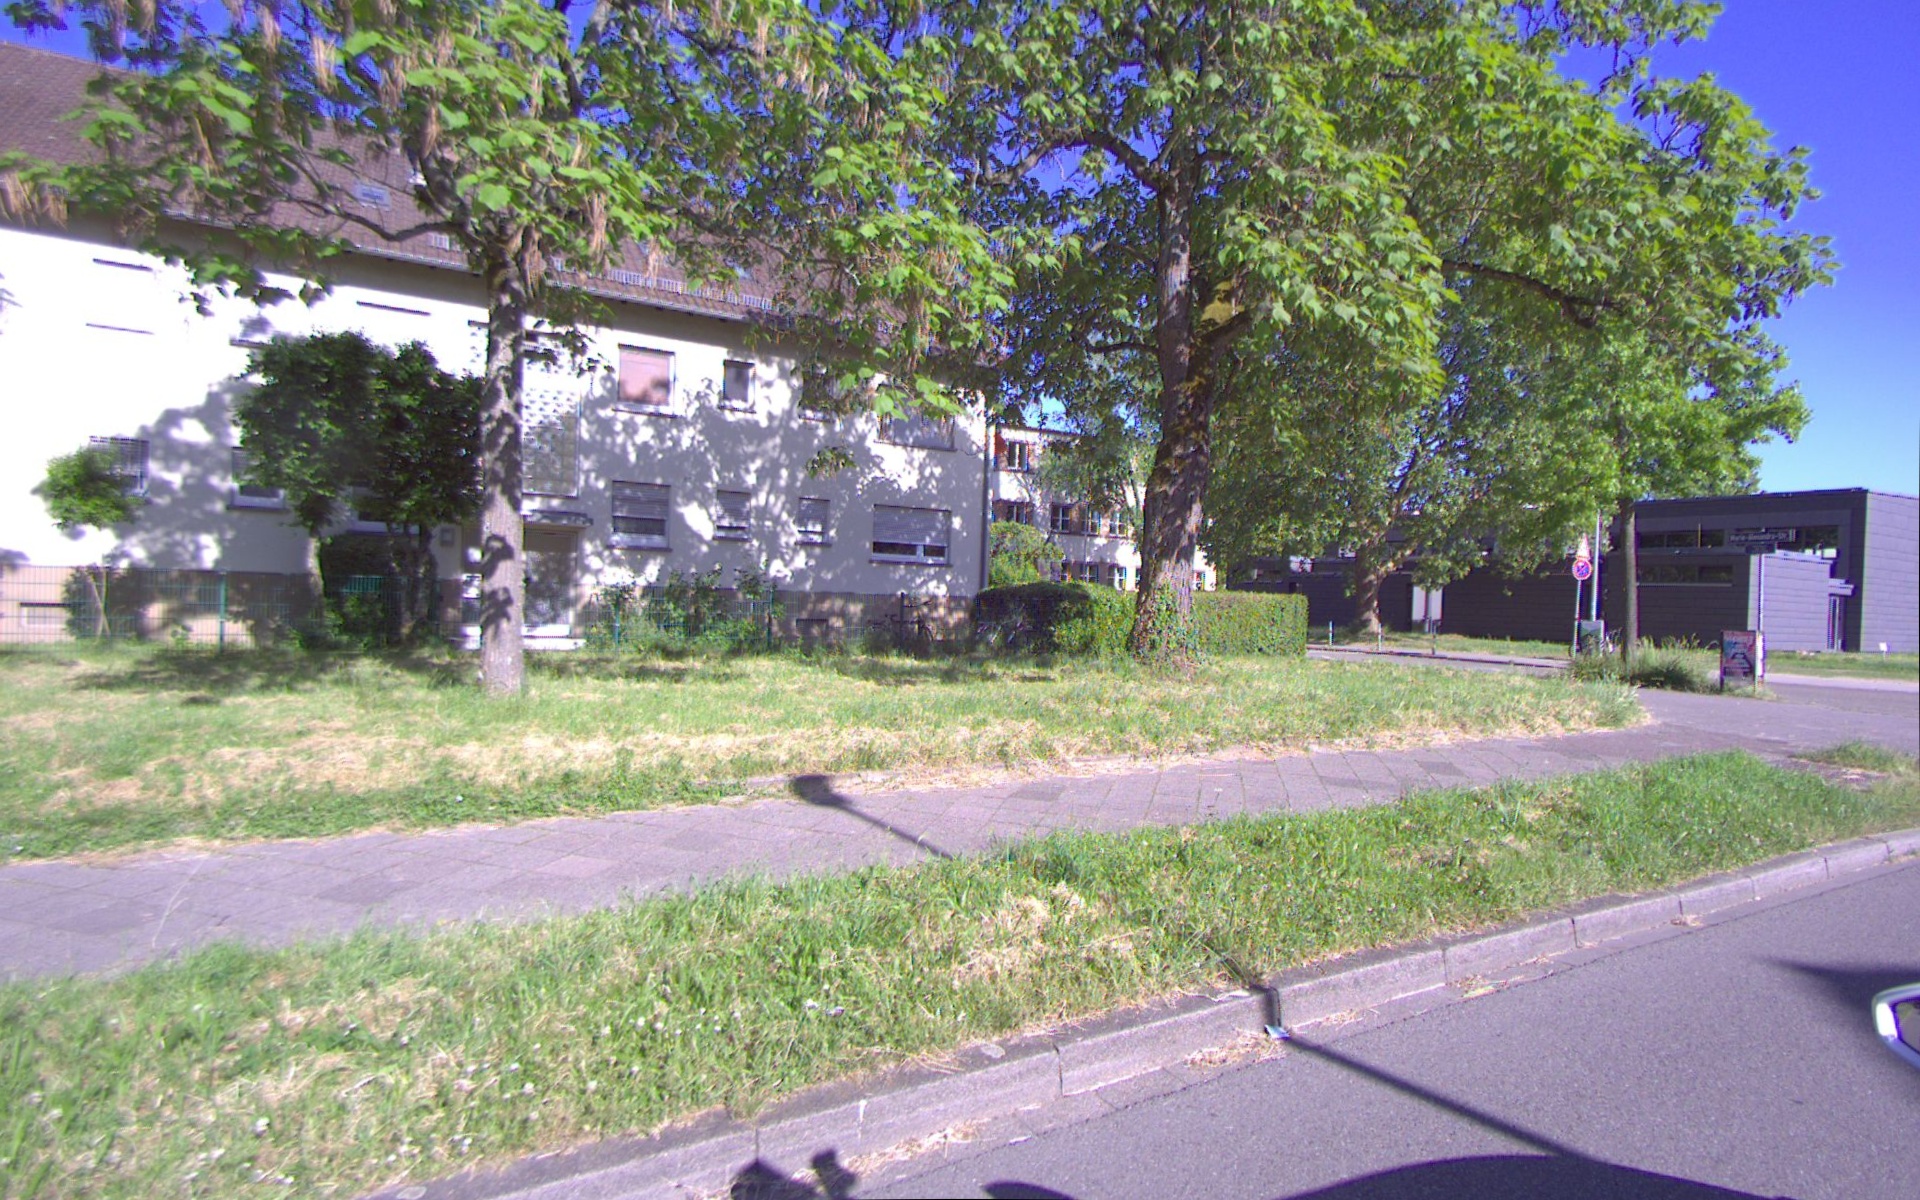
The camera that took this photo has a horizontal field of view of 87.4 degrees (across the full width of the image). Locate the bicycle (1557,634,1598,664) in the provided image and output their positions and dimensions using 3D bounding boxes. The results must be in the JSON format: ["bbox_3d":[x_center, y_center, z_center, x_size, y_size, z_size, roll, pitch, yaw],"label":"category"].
[{"bbox_3d":[19.223,1.515,31.264,0.999,0.899,0.440,0,0,16],"label":"bicycle"}]
